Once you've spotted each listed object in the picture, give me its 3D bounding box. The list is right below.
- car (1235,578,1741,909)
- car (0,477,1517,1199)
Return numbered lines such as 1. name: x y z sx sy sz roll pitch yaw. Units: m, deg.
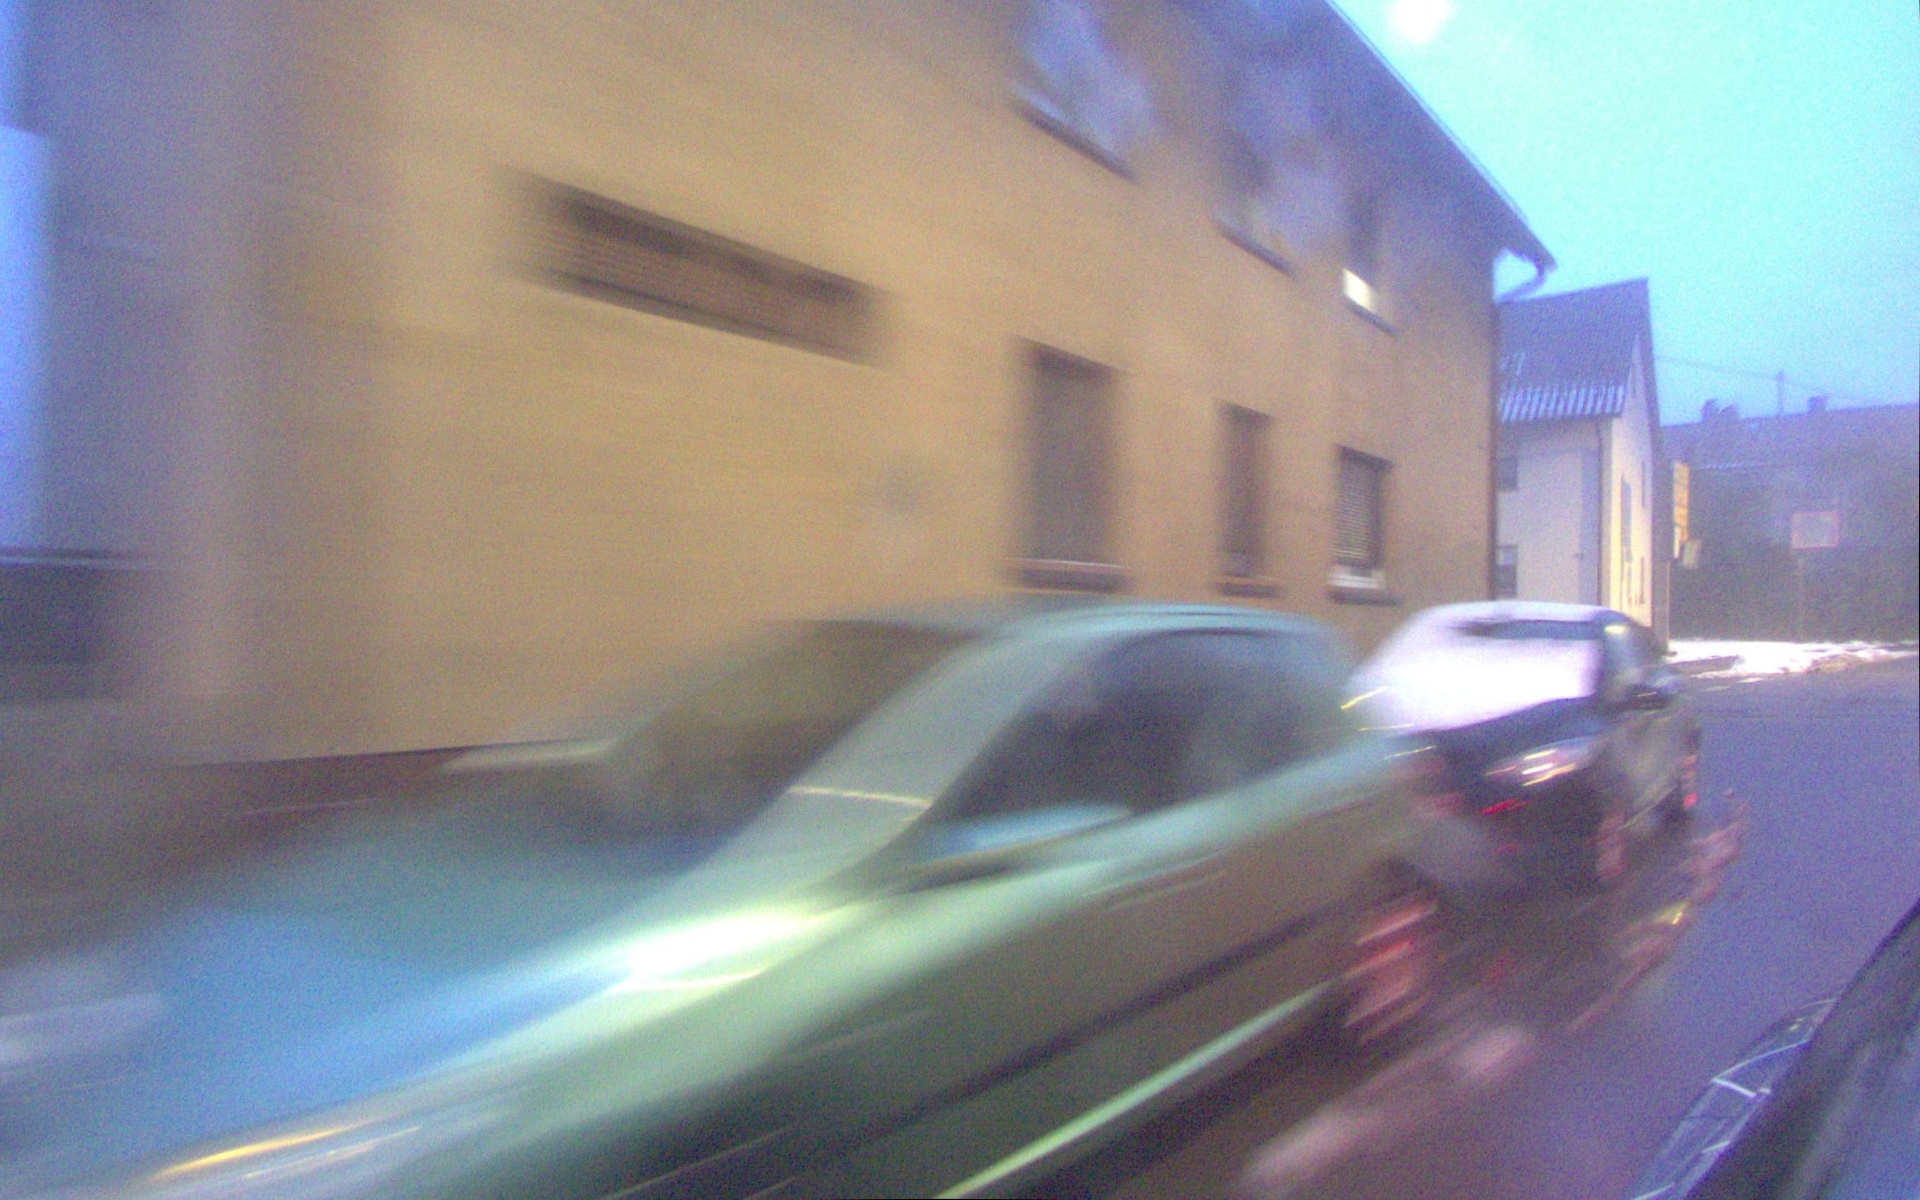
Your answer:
1. car: 3.607 0.643 6.600 3.841 1.518 1.718 -1 0 -43
2. car: -0.096 0.596 3.099 4.209 1.499 1.913 -1 1 -42
